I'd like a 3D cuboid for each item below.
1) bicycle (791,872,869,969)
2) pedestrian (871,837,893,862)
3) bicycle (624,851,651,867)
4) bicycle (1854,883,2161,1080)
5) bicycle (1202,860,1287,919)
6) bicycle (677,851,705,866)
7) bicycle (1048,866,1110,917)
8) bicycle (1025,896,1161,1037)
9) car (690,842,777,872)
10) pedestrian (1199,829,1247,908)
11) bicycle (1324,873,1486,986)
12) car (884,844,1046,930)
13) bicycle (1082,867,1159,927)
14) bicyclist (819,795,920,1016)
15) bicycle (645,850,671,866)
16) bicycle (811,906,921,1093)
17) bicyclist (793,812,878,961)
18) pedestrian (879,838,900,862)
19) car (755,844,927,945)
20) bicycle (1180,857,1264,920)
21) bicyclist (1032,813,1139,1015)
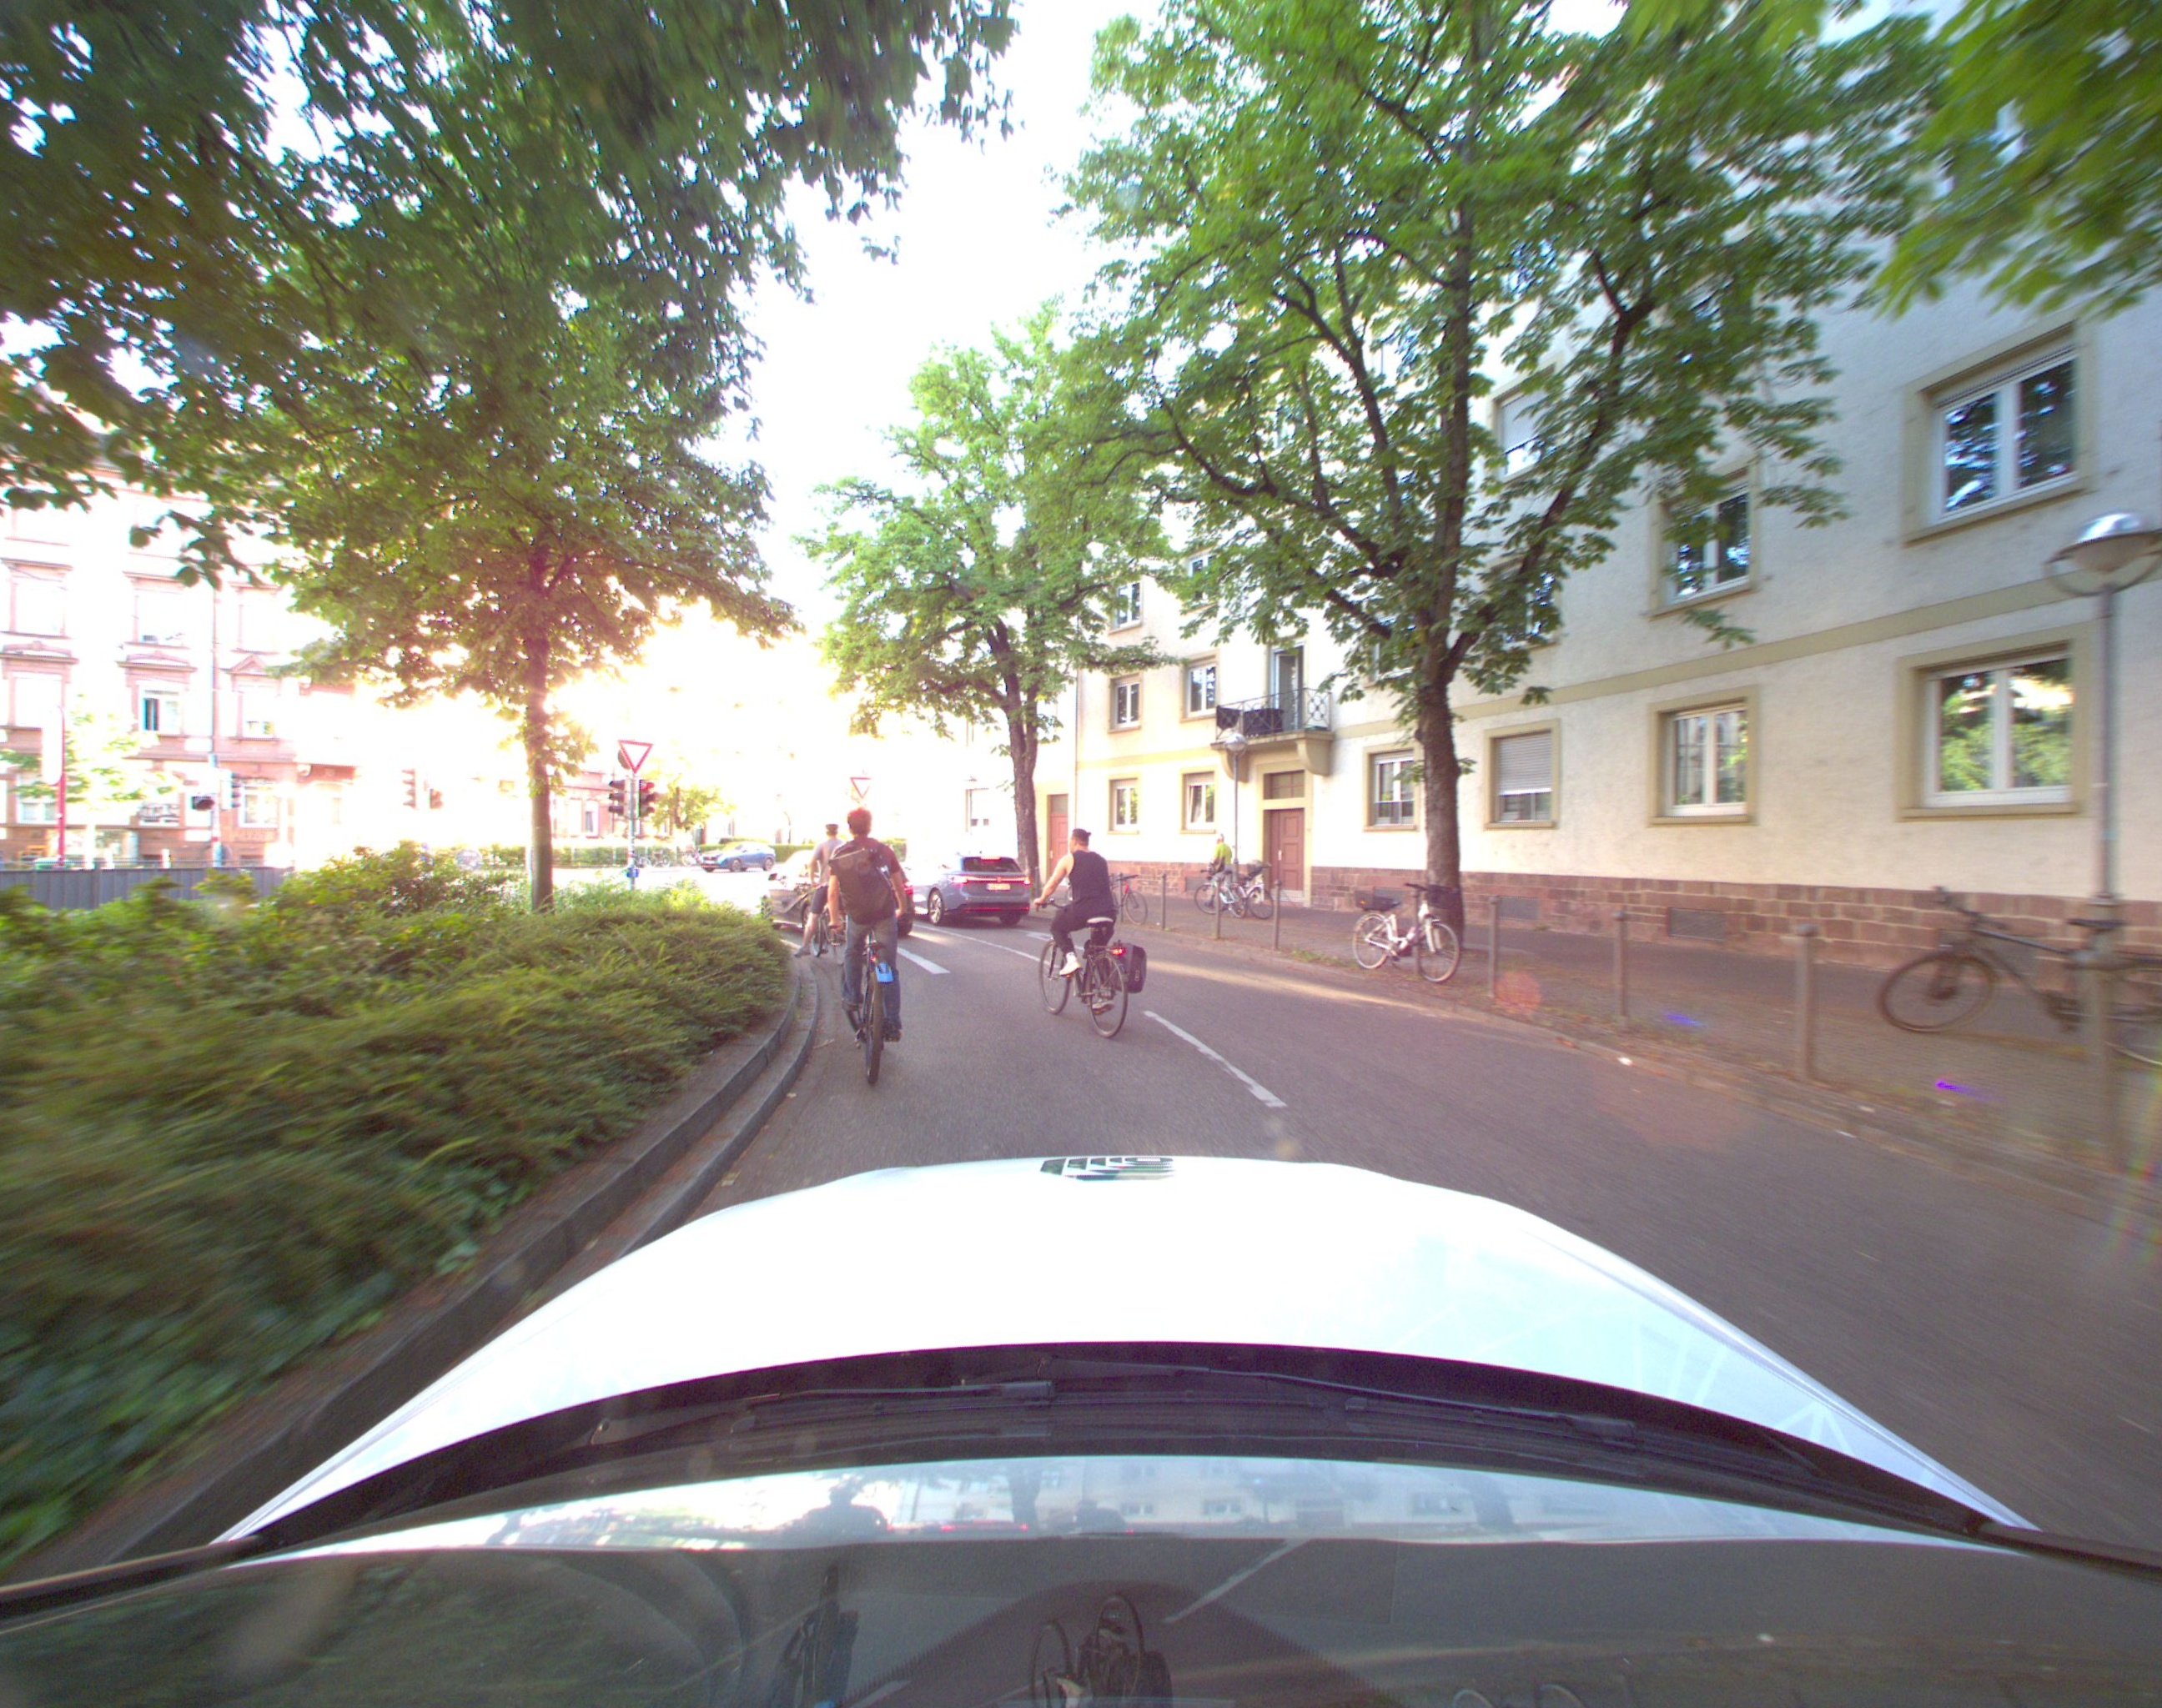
[{"bbox_3d":[-3.508,0.857,11.260,0.601,1.161,2.022,1,0,-29],"label":"bicycle"},{"bbox_3d":[-16.171,-0.362,66.184,1.150,1.962,1.392,1,0,12],"label":"pedestrian"},{"bbox_3d":[-24.494,0.256,44.976,0.444,0.861,1.231,1,0,32],"label":"bicycle"},{"bbox_3d":[6.790,0.825,5.738,0.675,1.182,1.805,-2,0,-29],"label":"bicycle"},{"bbox_3d":[3.401,0.702,17.169,0.585,1.114,2.098,0,1,-27],"label":"bicycle"},{"bbox_3d":[-23.180,0.259,48.401,0.444,0.861,1.456,1,0,32],"label":"bicycle"},{"bbox_3d":[-0.072,0.783,17.765,0.522,0.999,2.174,0,0,-24],"label":"bicycle"},{"bbox_3d":[0.038,0.934,7.423,0.738,1.012,2.051,1,-1,-14],"label":"bicycle"},{"bbox_3d":[-18.837,0.133,44.372,1.978,1.496,4.395,1,0,18],"label":"car"},{"bbox_3d":[3.336,0.318,19.120,1.003,1.795,0.651,-2,1,-44],"label":"pedestrian"},{"bbox_3d":[3.821,0.842,9.797,0.618,1.112,1.979,-3,2,-20],"label":"bicycle"},{"bbox_3d":[-2.584,0.593,17.346,1.905,1.577,3.959,0,1,-33],"label":"car"},{"bbox_3d":[0.764,0.826,16.418,0.620,1.058,1.910,-2,2,-29],"label":"bicycle"},{"bbox_3d":[-1.575,0.352,6.178,0.672,1.514,1.064,0,0,-12],"label":"bicyclist"},{"bbox_3d":[-23.916,0.220,46.045,0.444,0.861,1.231,1,0,32],"label":"bicycle"},{"bbox_3d":[-1.574,0.981,6.190,0.674,1.054,2.053,0,-1,-12],"label":"bicycle"},{"bbox_3d":[-3.367,0.403,11.112,0.856,1.898,1.128,0,1,-32],"label":"bicyclist"},{"bbox_3d":[-15.344,-0.322,65.314,1.150,1.962,1.392,1,0,12],"label":"pedestrian"},{"bbox_3d":[-4.513,0.629,14.948,1.827,1.543,3.916,-2,1,-35],"label":"car"},{"bbox_3d":[2.882,0.677,16.877,0.497,1.172,2.098,-4,2,-28],"label":"bicycle"},{"bbox_3d":[0.018,0.498,7.333,0.753,1.682,0.909,0,0,-14],"label":"bicyclist"}]
